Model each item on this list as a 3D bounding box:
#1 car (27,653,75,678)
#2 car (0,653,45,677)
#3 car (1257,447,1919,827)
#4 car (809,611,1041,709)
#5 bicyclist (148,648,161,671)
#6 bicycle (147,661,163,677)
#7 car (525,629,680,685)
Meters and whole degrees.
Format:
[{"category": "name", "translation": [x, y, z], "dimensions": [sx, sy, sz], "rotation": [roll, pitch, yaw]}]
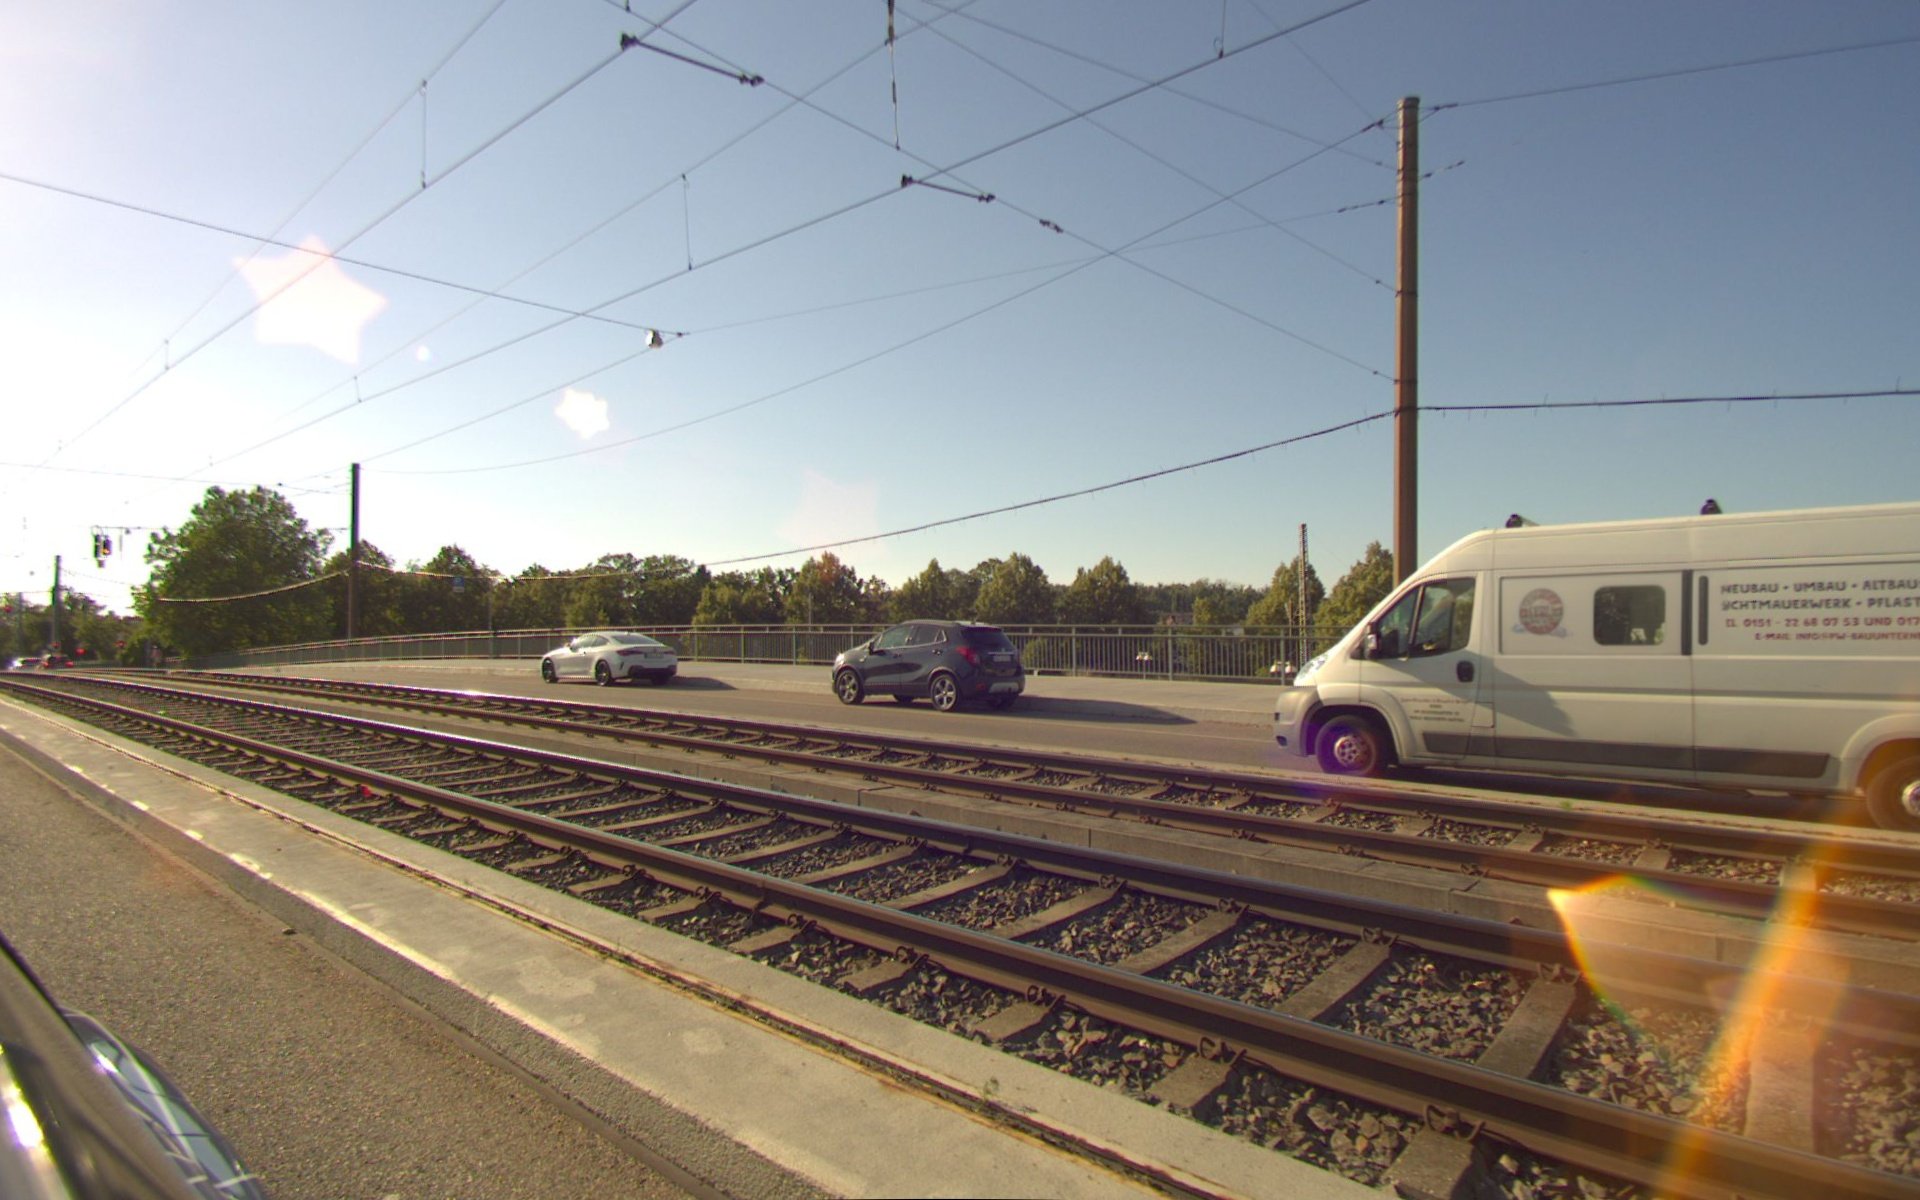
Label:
[{"category": "car", "translation": [-58.956, 4.272, 65.614], "dimensions": [3.998, 1.531, 1.789], "rotation": [-4, -5, 41]}, {"category": "car", "translation": [-69.331, 4.800, 74.785], "dimensions": [5.087, 1.649, 1.980], "rotation": [-4, -3, 41]}, {"category": "car", "translation": [5.939, 0.292, 8.902], "dimensions": [6.038, 2.613, 2.065], "rotation": [-2, -1, 41]}, {"category": "car", "translation": [-0.757, 1.143, 19.476], "dimensions": [4.444, 1.663, 1.761], "rotation": [-2, -5, 41]}, {"category": "bicyclist", "translation": [-58.195, 4.309, 73.103], "dimensions": [0.936, 1.645, 0.618], "rotation": [-4, -3, 44]}, {"category": "bicycle", "translation": [-58.084, 4.960, 72.986], "dimensions": [2.260, 1.131, 0.618], "rotation": [-4, -3, 44]}, {"category": "car", "translation": [-9.642, 1.494, 27.070], "dimensions": [4.917, 1.367, 1.666], "rotation": [-1, -4, 41]}]
